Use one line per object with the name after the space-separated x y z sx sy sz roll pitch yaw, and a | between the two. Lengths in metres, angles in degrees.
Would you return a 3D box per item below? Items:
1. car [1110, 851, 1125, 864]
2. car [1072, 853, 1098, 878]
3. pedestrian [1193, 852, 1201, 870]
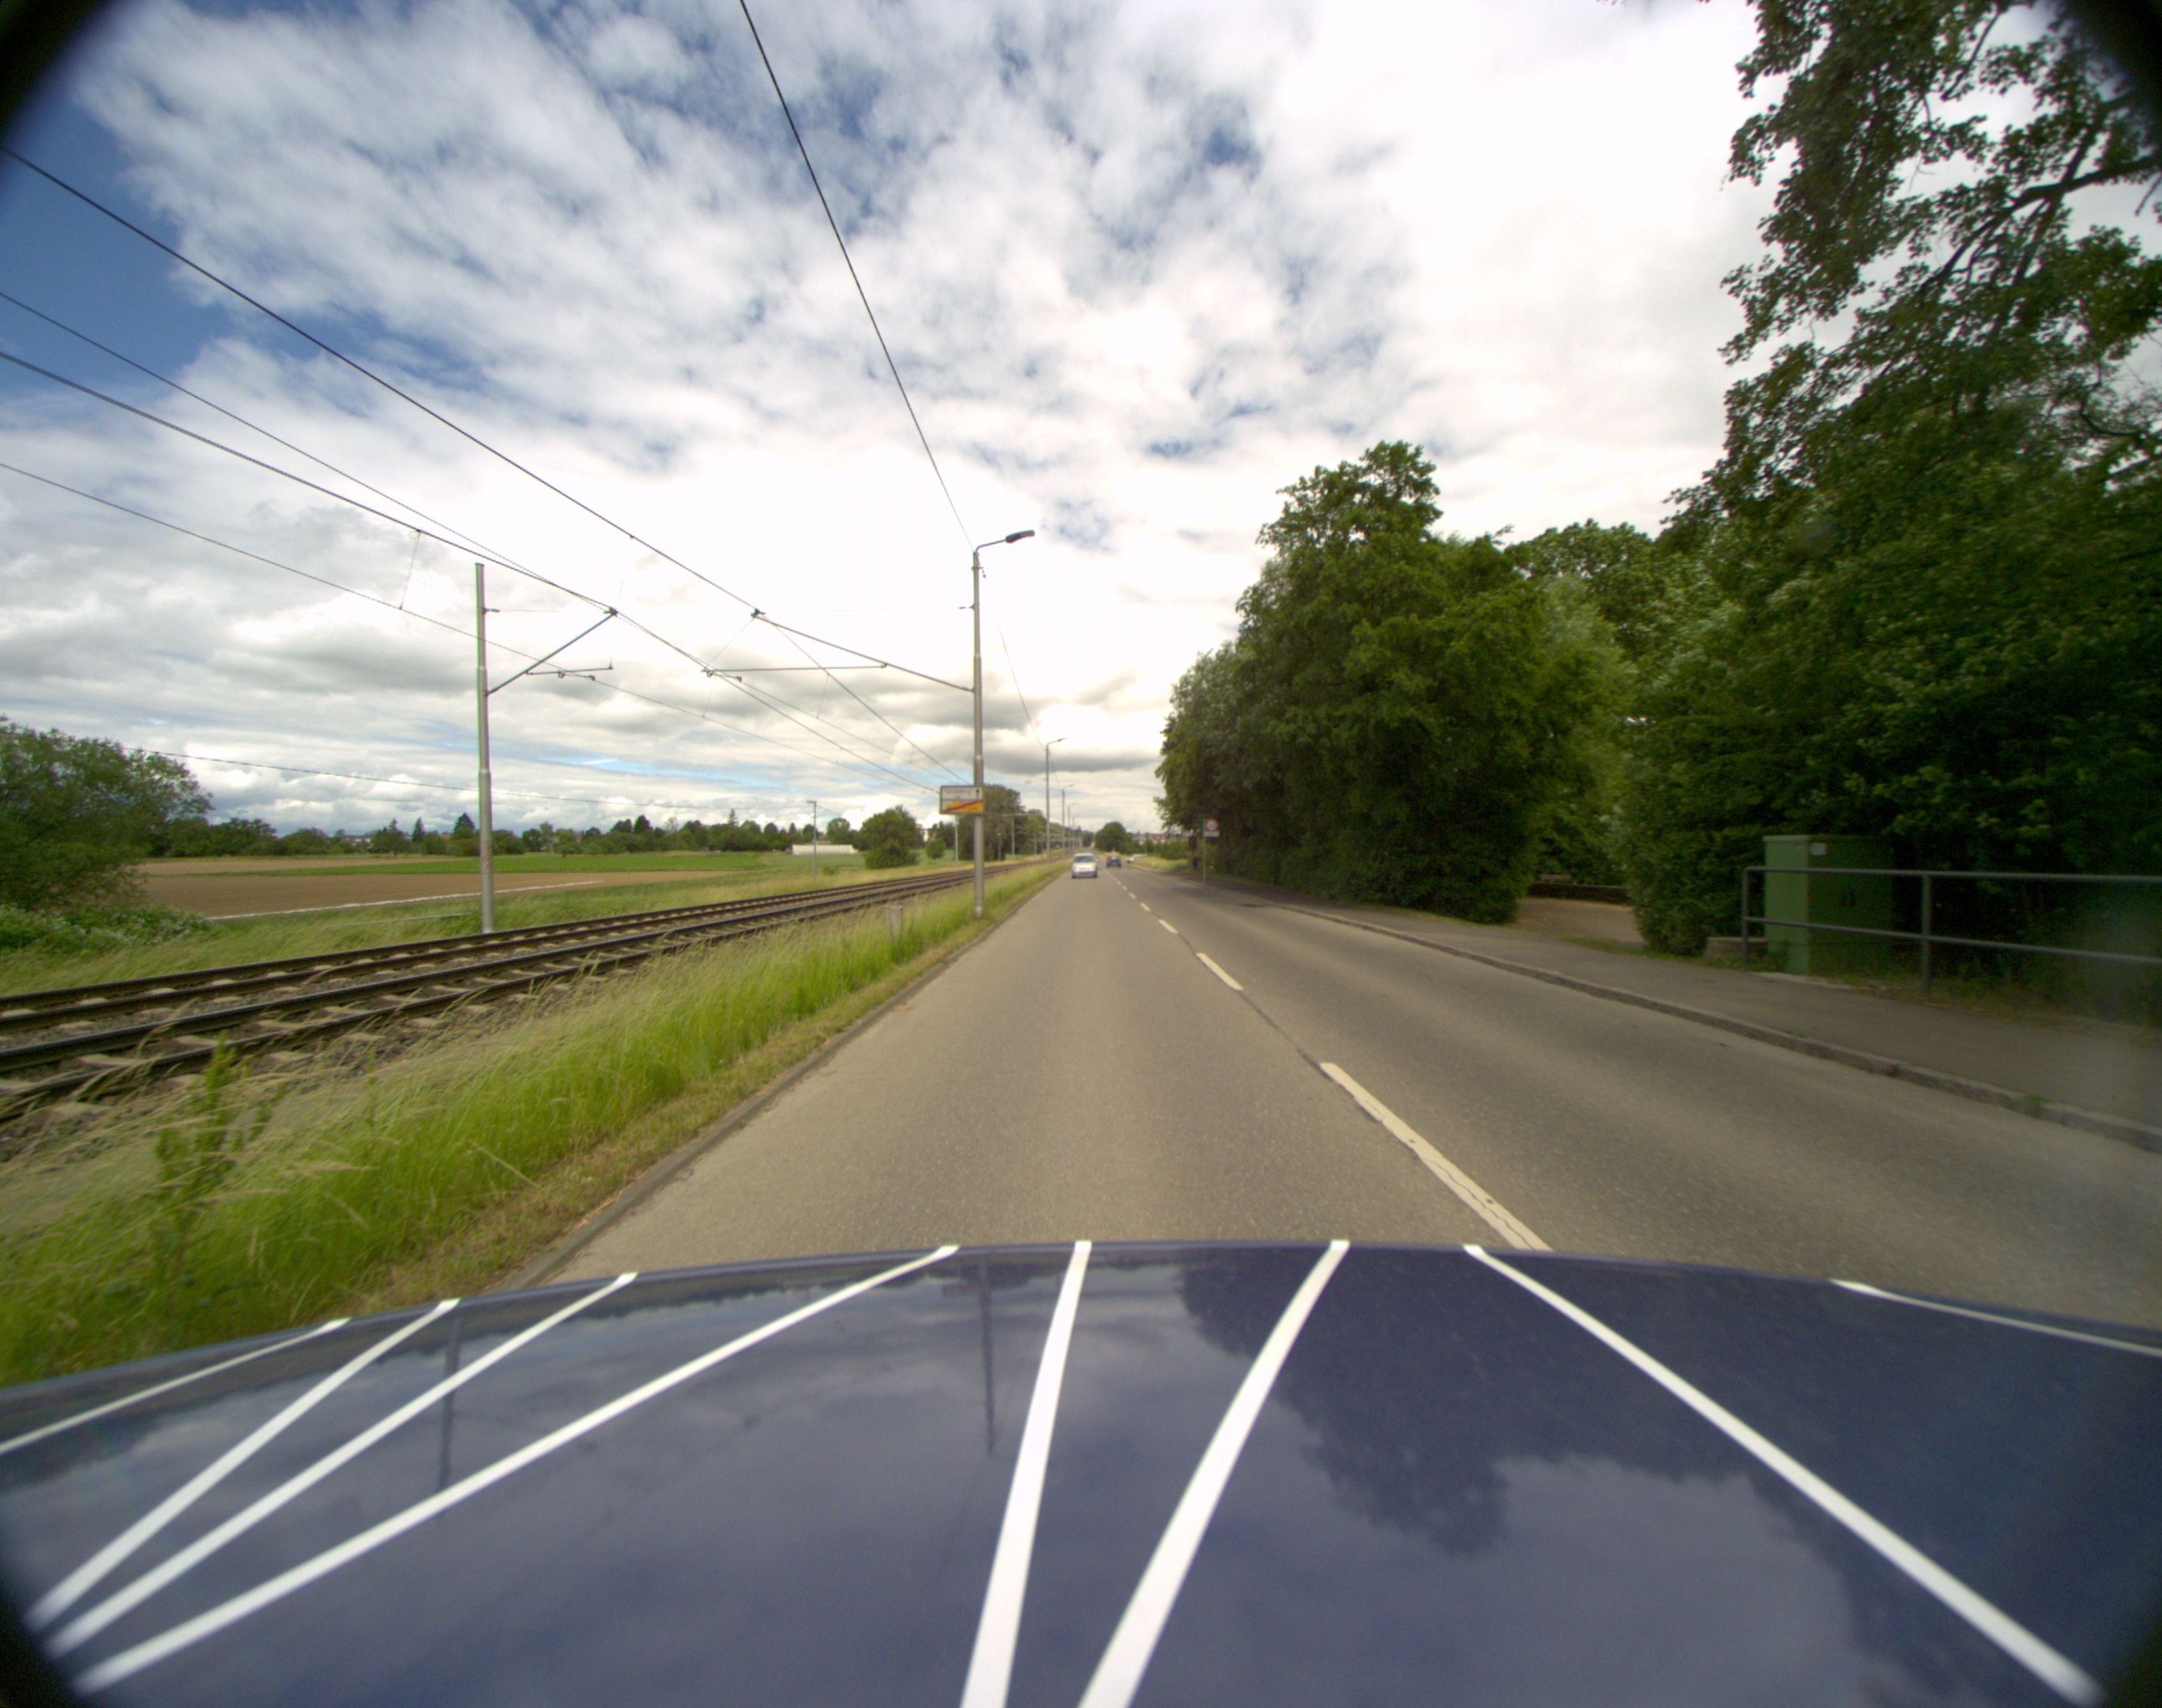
4.385 0.438 91.568 1.711 1.519 3.824 1 1 1 | car
0.273 0.729 50.842 1.643 1.510 3.868 -2 1 1 | car
10.234 0.658 66.960 0.706 1.584 0.707 -1 -1 11 | pedestrian
